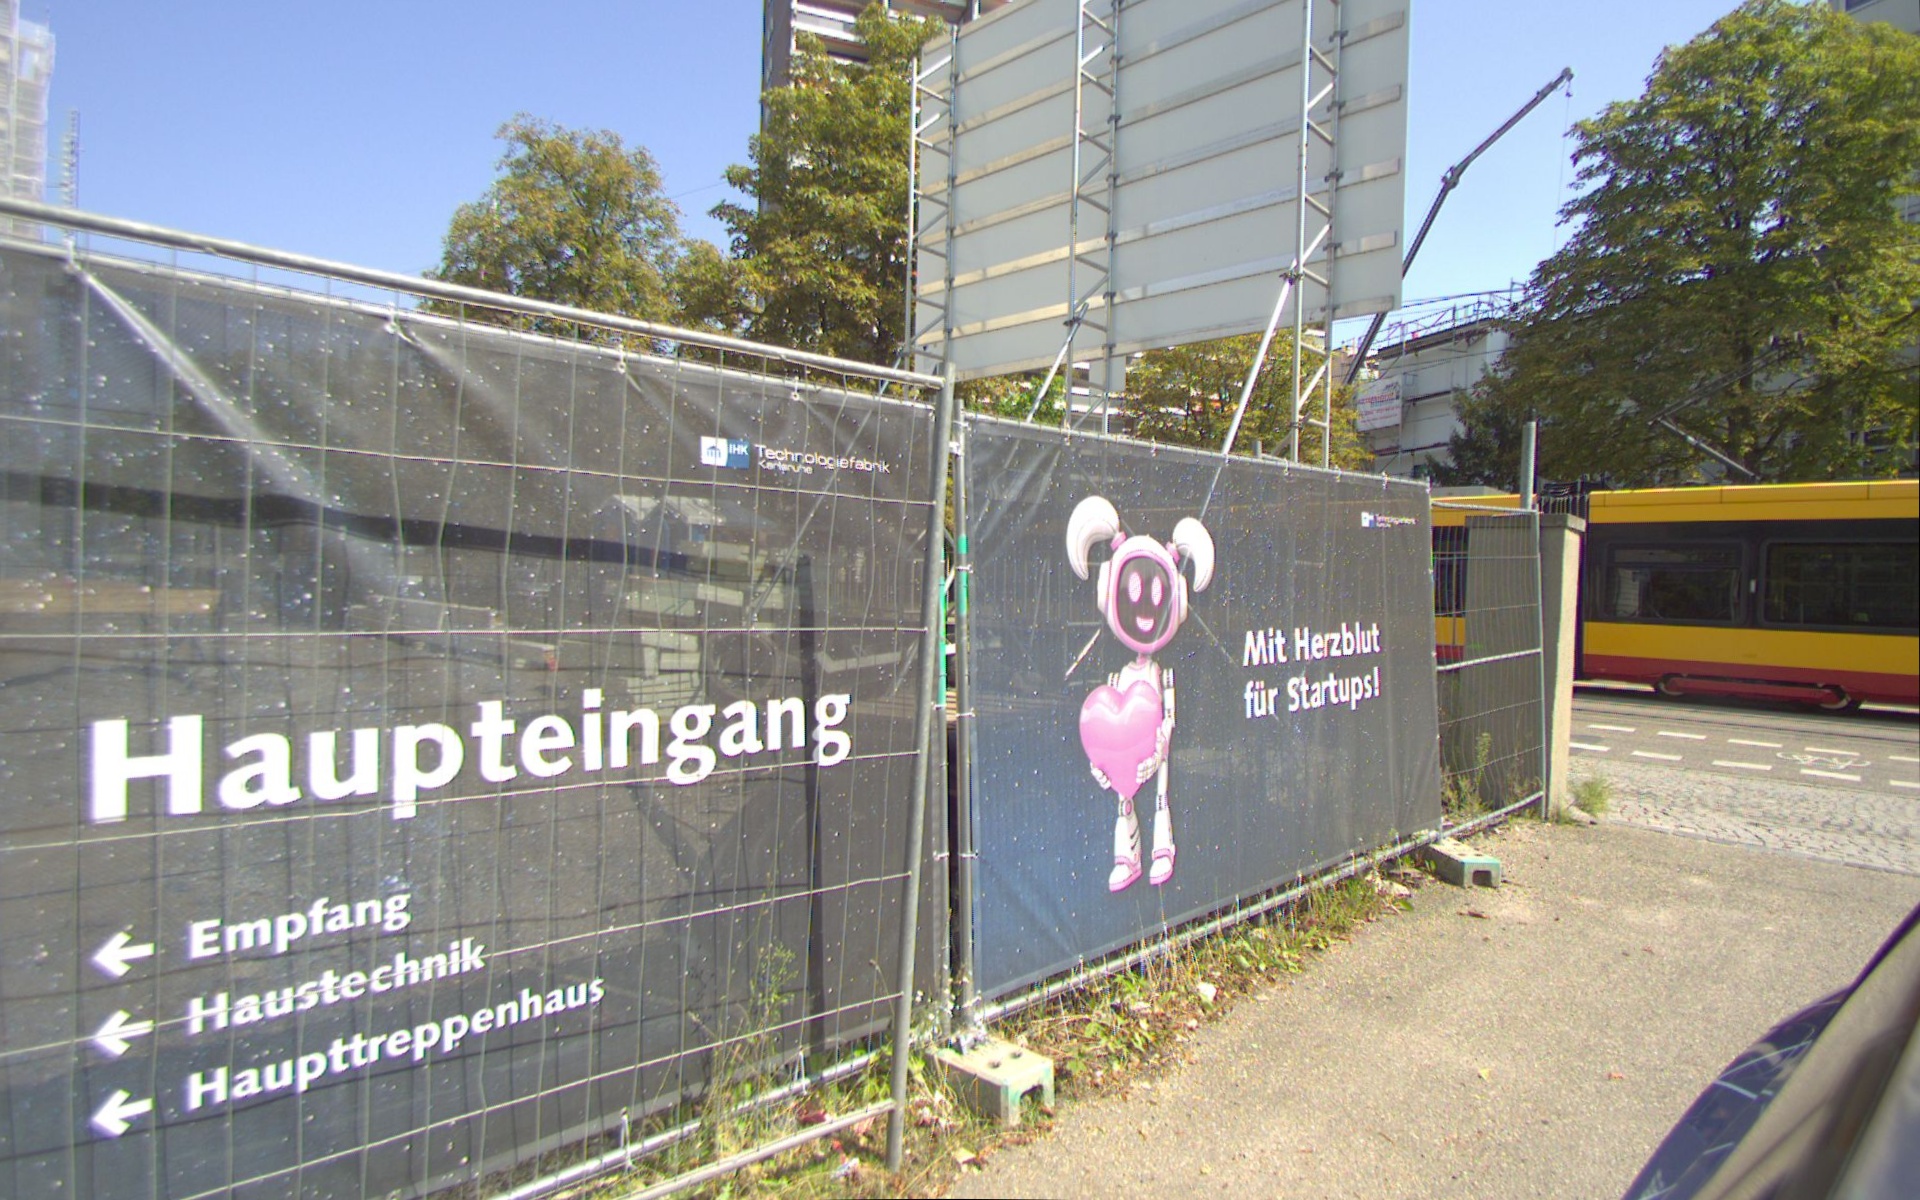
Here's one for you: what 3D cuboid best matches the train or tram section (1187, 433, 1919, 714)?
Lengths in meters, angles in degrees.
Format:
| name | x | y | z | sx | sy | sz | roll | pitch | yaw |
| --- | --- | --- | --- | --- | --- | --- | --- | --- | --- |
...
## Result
| name | x | y | z | sx | sy | sz | roll | pitch | yaw |
| --- | --- | --- | --- | --- | --- | --- | --- | --- | --- |
| train or tram section | 10.410 | -0.497 | 18.378 | 3.451 | 3.750 | 12.379 | 0 | 1 | -45 |
